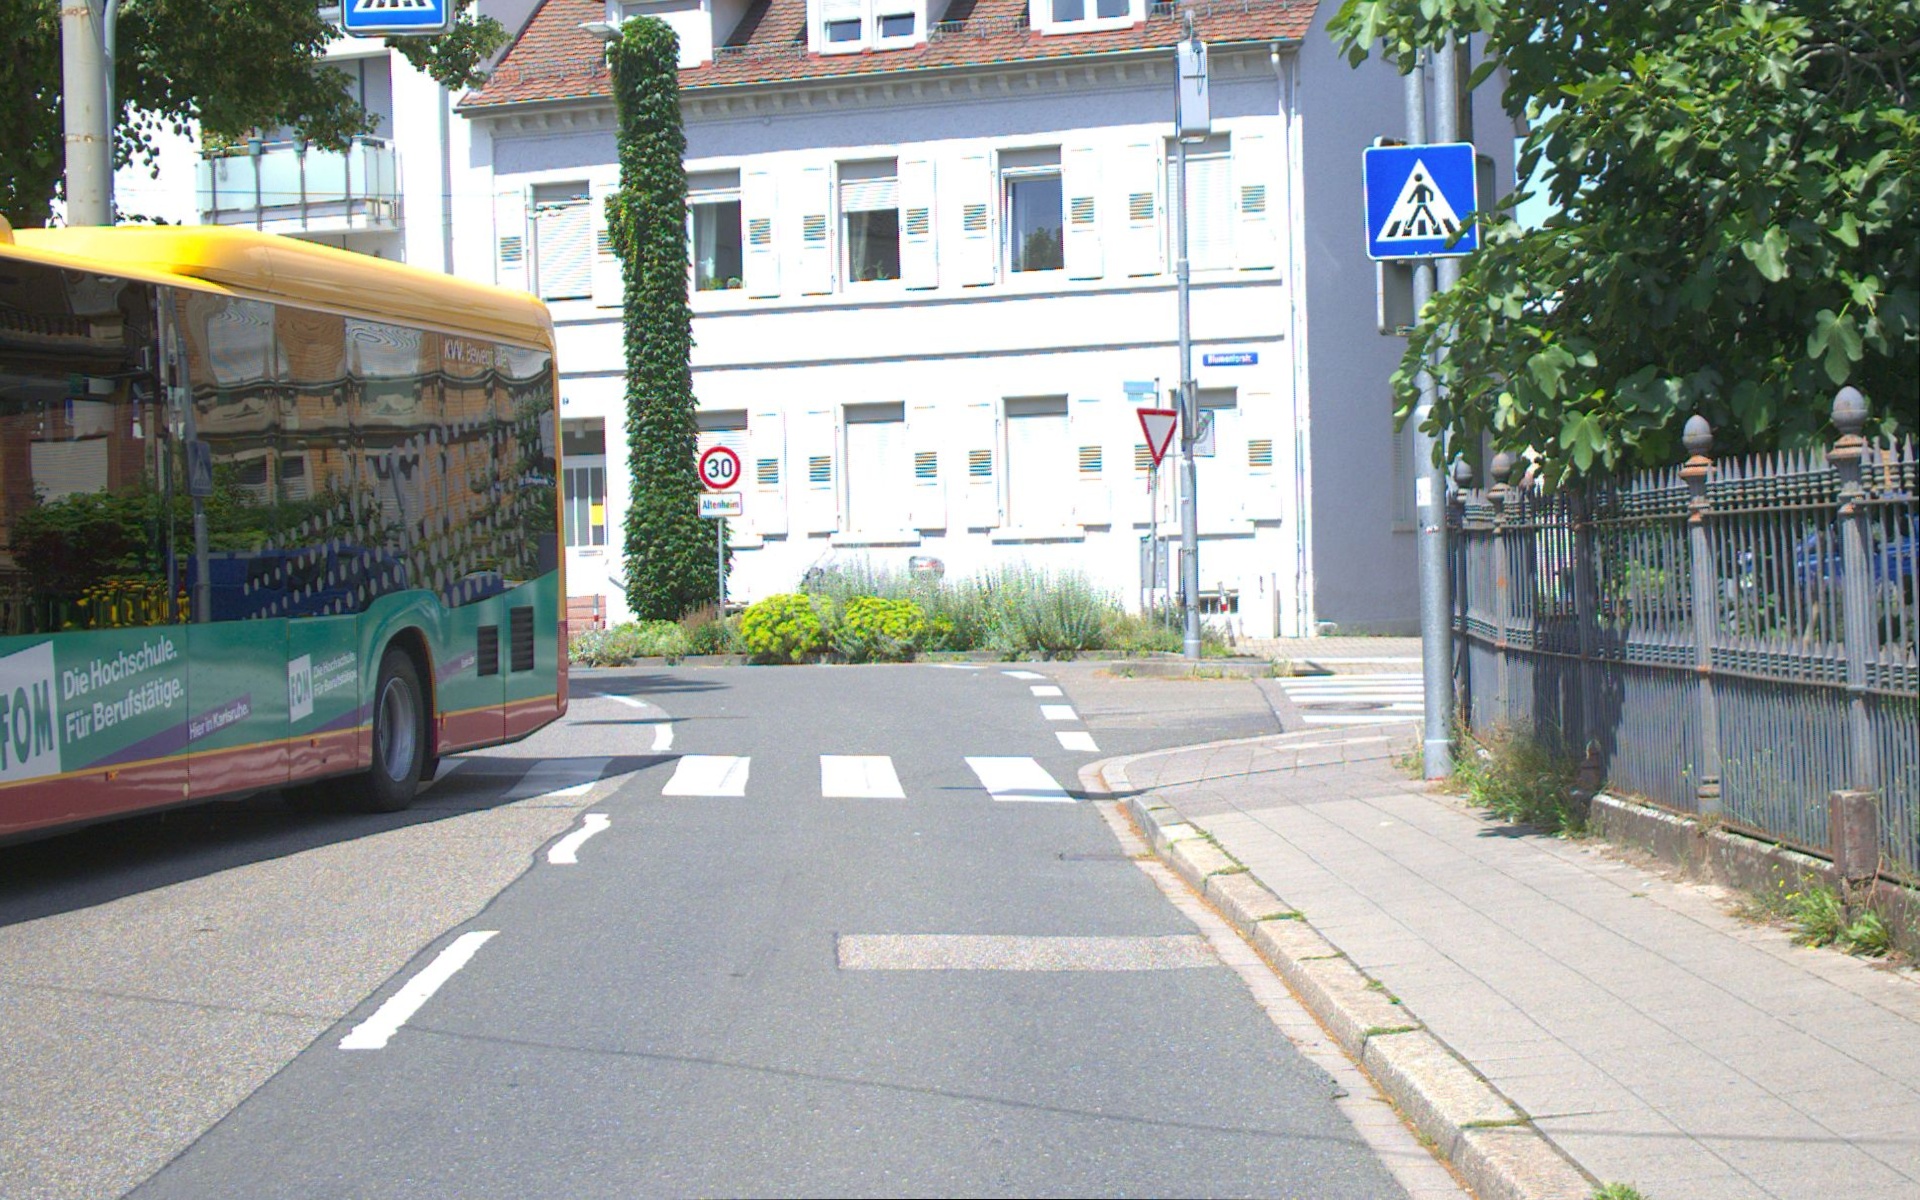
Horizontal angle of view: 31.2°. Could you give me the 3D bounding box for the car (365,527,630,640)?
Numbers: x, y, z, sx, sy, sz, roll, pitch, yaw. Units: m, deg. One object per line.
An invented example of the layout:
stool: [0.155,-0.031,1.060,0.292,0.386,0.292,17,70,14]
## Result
car: [-6.762,-0.235,50.199,3.612,1.581,1.581,0,-1,30]

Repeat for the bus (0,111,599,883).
bus: [-4.890,-0.495,16.962,2.781,3.197,12.301,1,1,11]
